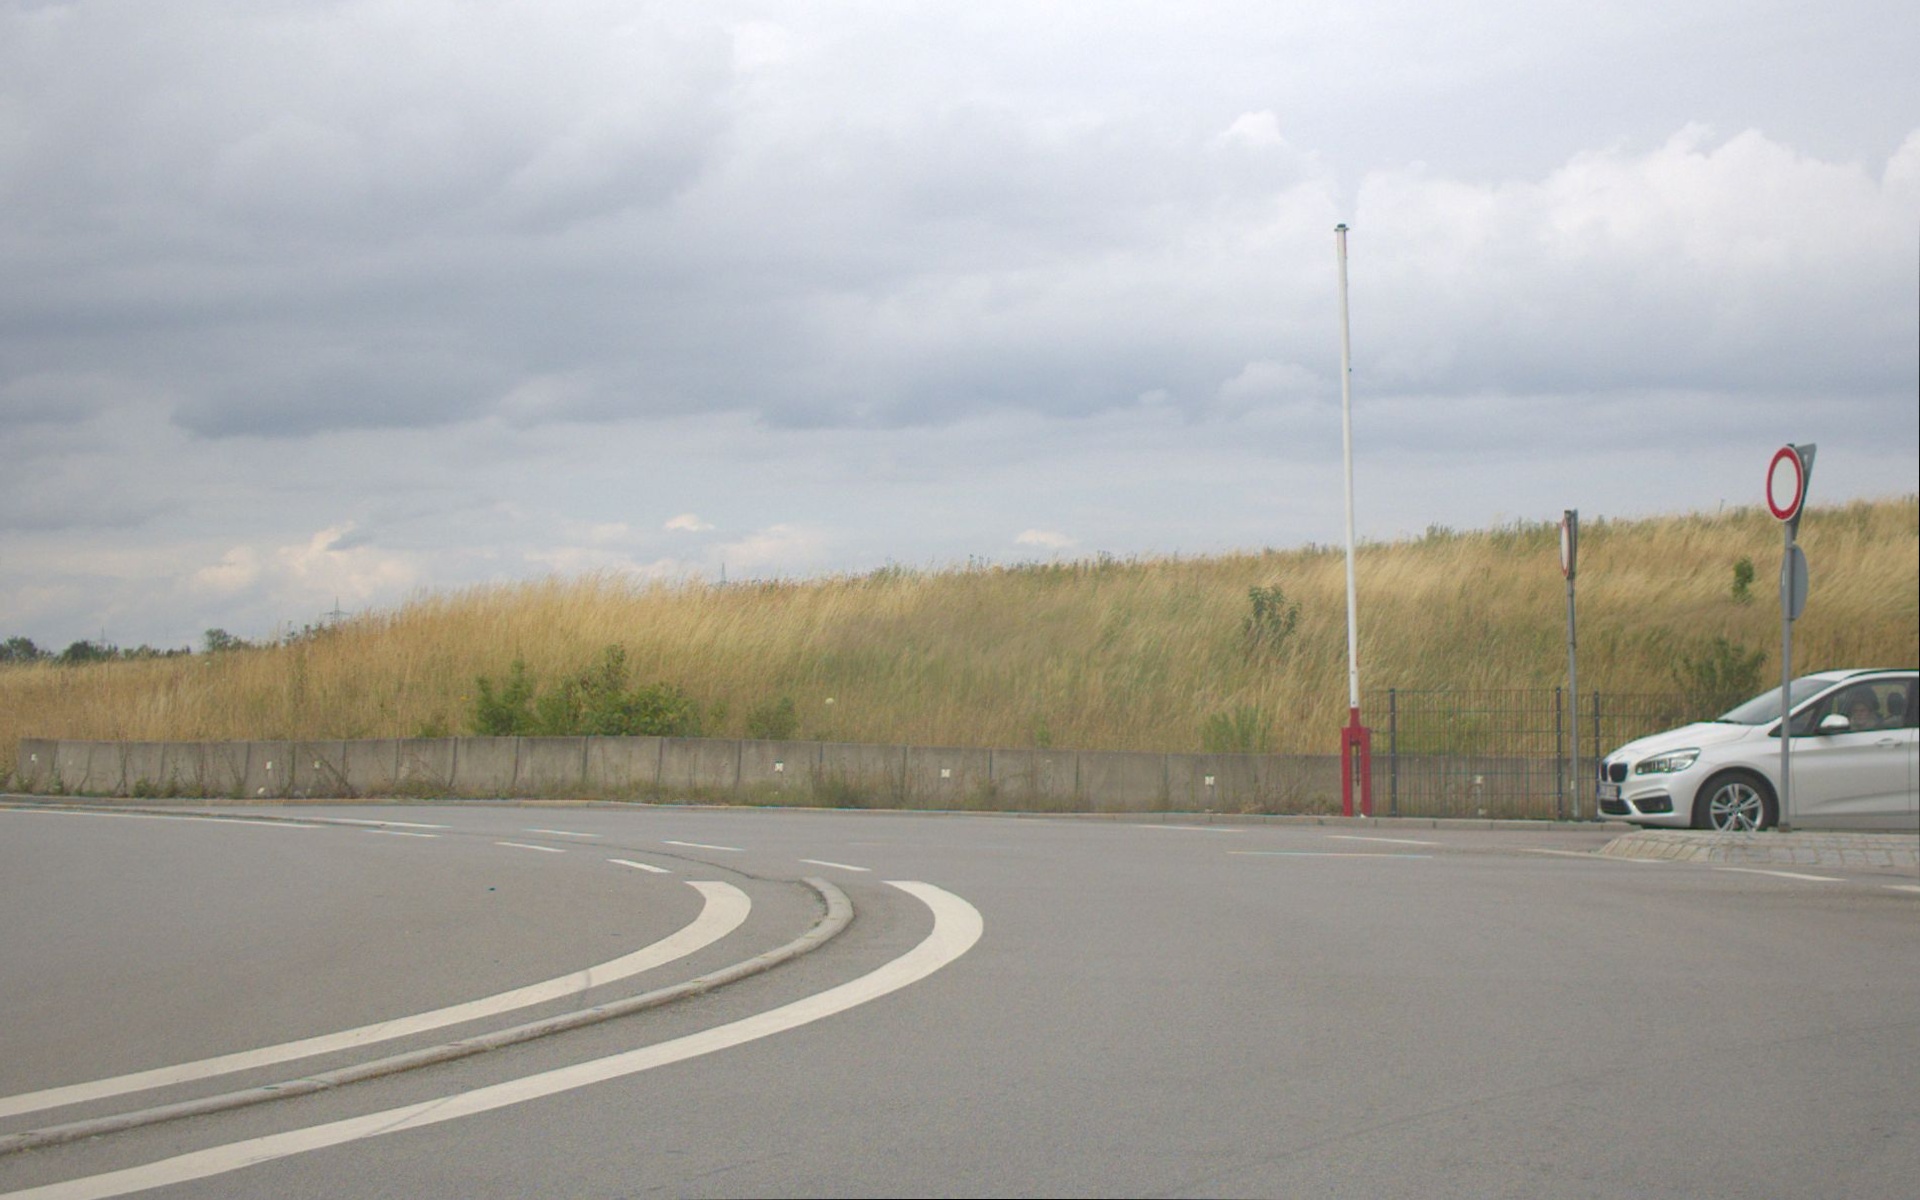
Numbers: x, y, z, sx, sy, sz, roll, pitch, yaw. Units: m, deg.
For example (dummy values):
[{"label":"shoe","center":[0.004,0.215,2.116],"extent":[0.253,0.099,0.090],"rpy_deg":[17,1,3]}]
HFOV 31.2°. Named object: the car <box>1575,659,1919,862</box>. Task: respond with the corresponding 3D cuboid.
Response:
[{"label":"car","center":[7.794,1.403,30.018],"extent":[4.412,1.623,1.784],"rpy_deg":[2,0,-7]}]
